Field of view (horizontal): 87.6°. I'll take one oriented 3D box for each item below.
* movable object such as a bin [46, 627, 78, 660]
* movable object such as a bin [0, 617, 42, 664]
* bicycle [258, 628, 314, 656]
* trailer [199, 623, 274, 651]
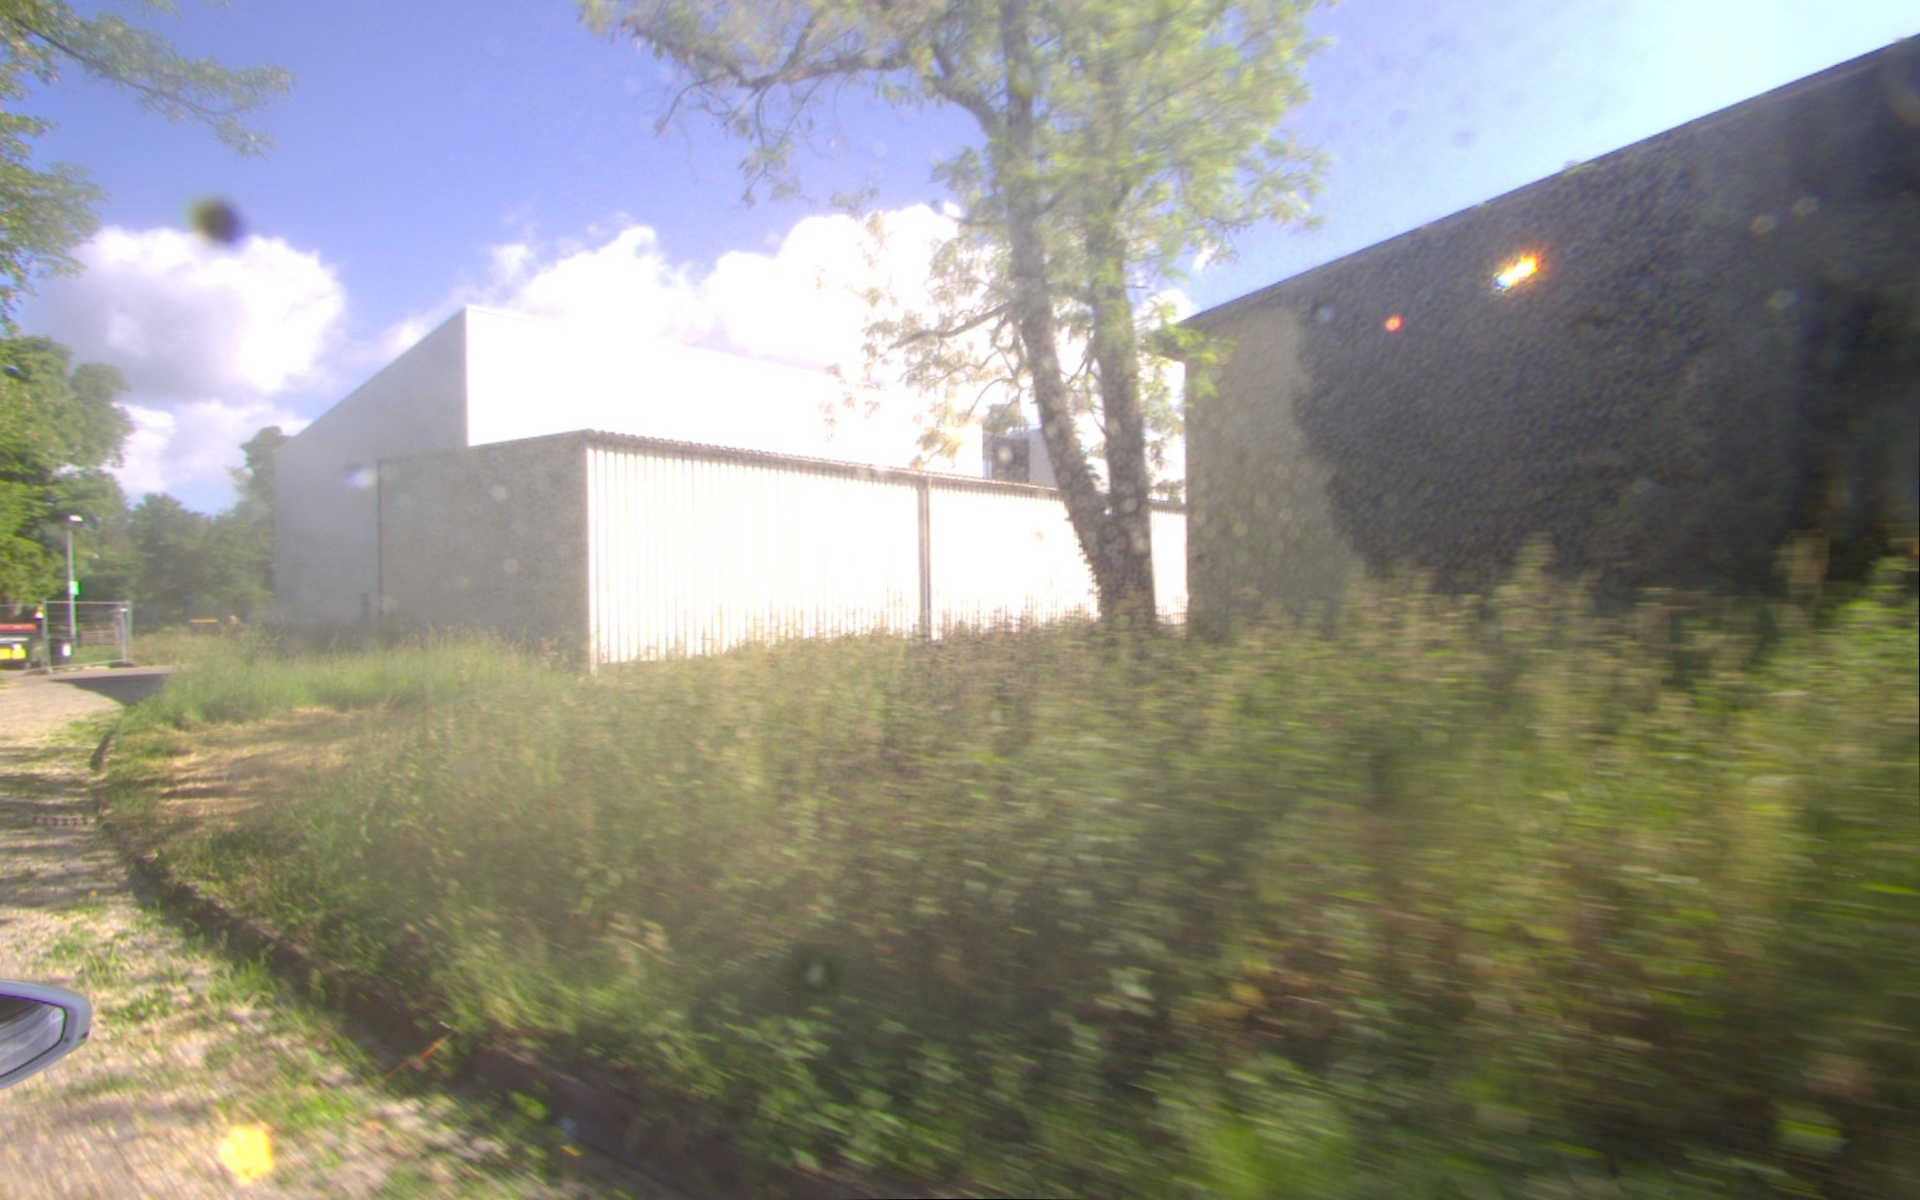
[{"bbox_3d":[-29.168,1.404,32.526,0.634,1.020,0.602,-1,0,-28],"label":"movable object such as a bin"},{"bbox_3d":[-30.110,1.269,31.844,1.021,1.445,1.280,-1,0,43],"label":"movable object such as a bin"},{"bbox_3d":[-27.796,1.717,41.304,1.871,1.096,0.429,0,0,-44],"label":"bicycle"},{"bbox_3d":[-33.740,1.722,46.742,2.692,1.215,1.234,0,0,-44],"label":"trailer"}]
